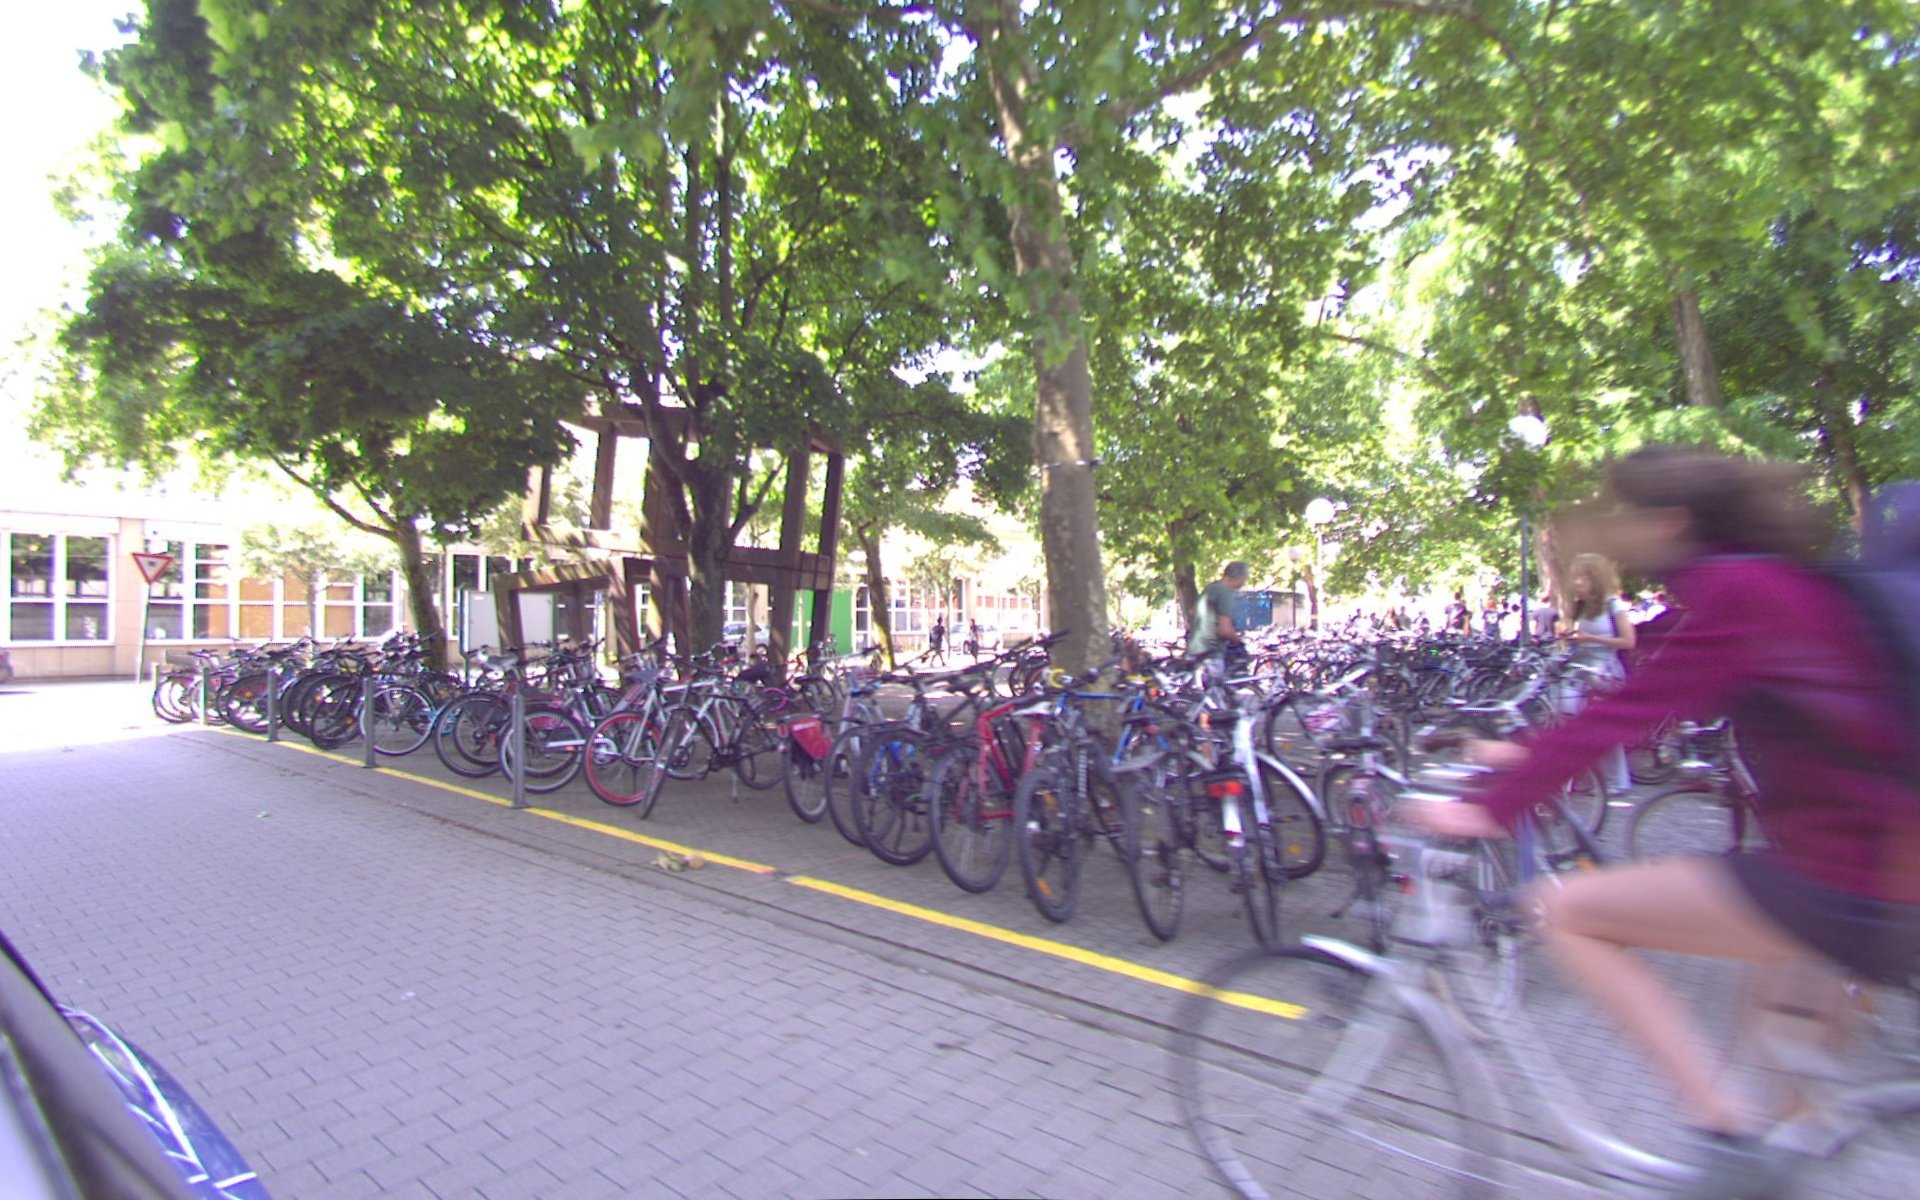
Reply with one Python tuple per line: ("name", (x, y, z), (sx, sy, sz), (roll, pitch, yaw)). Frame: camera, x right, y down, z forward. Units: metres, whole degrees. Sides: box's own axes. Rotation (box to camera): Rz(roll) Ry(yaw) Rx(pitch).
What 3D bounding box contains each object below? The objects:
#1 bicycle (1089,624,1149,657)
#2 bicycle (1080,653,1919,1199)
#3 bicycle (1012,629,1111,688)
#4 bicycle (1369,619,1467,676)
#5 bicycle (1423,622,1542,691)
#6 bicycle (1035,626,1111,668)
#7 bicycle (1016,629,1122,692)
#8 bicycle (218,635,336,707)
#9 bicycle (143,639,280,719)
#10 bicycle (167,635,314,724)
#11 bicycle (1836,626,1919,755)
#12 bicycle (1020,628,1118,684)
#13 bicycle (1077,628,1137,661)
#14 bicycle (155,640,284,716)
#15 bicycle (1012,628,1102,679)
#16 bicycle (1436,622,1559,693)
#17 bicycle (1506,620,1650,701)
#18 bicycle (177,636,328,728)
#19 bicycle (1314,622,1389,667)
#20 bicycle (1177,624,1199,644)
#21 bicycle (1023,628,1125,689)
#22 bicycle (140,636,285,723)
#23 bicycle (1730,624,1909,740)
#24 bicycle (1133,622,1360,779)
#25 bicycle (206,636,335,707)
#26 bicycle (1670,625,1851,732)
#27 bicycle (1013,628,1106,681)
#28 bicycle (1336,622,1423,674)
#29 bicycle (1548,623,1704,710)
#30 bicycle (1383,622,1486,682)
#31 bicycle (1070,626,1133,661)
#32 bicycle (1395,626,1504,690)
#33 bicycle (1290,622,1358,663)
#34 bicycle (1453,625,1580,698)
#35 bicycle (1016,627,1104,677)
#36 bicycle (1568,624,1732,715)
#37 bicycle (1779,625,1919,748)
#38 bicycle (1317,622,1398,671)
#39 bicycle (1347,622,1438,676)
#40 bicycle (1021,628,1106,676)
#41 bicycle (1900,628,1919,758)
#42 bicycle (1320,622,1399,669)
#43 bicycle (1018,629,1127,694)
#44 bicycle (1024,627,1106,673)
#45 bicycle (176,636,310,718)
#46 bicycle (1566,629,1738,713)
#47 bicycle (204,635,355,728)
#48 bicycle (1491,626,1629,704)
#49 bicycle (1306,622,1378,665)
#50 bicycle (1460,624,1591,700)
("bicycle", (5.596, 1.425, 35.703), (2.017, 1.116, 0.499), (-1, 0, 23))
("bicycle", (1.307, 0.713, 1.720), (2.106, 1.159, 0.764), (0, -1, 39))
("bicycle", (1.991, 1.144, 19.859), (1.886, 1.116, 0.501), (-1, 0, 11))
("bicycle", (9.030, 0.927, 19.989), (1.677, 1.092, 0.474), (-1, 0, 2))
("bicycle", (8.647, 0.932, 16.774), (1.677, 1.092, 0.474), (-1, 0, 2))
("bicycle", (3.065, 1.266, 27.429), (2.011, 1.116, 0.500), (-1, 0, 14))
("bicycle", (2.003, 1.110, 18.612), (1.884, 1.116, 0.501), (-1, 0, 8))
("bicycle", (-11.946, 1.228, 17.742), (1.601, 1.168, 0.641), (-1, -3, -21))
("bicycle", (-11.335, 1.171, 15.366), (0.497, 1.116, 1.608), (-4, -3, 40))
("bicycle", (-10.008, 1.073, 14.114), (1.605, 1.116, 0.497), (0, 0, -44))
("bicycle", (8.848, 0.786, 9.169), (1.671, 1.092, 0.475), (-1, 0, -14))
("bicycle", (2.264, 1.159, 21.006), (1.984, 1.116, 0.501), (-1, 0, 11))
("bicycle", (5.023, 1.527, 34.587), (2.011, 1.116, 0.500), (-1, 0, 14))
("bicycle", (-11.813, 1.229, 16.181), (0.497, 1.116, 1.608), (-4, -3, 40))
("bicycle", (2.200, 1.214, 22.895), (1.984, 1.116, 0.501), (-1, 0, 11))
("bicycle", (8.620, 0.917, 16.262), (1.677, 1.092, 0.474), (-1, 0, 2))
("bicycle", (8.612, 0.834, 14.141), (1.677, 1.092, 0.474), (-1, 0, 2))
("bicycle", (-9.584, 1.073, 13.744), (1.606, 1.116, 0.630), (0, 0, -45))
("bicycle", (9.886, 1.123, 25.603), (1.682, 1.092, 0.472), (-1, 0, 12))
("bicycle", (13.372, 1.998, 59.433), (0.603, 1.116, 2.050), (-3, -3, 31))
("bicycle", (2.175, 1.110, 19.272), (1.886, 1.116, 0.501), (-1, 0, 11))
("bicycle", (-10.565, 1.095, 14.339), (1.605, 1.116, 0.497), (0, 0, -44))
("bicycle", (8.727, 0.813, 10.282), (1.671, 1.092, 0.475), (-1, 0, -14))
("bicycle", (2.310, 0.803, 8.297), (1.676, 1.209, 0.575), (-1, 0, 2))
("bicycle", (-11.648, 1.193, 17.149), (1.716, 1.116, 0.592), (-1, -3, -21))
("bicycle", (8.734, 0.840, 11.060), (1.673, 1.092, 0.475), (-1, 0, -6))
("bicycle", (2.170, 1.196, 22.132), (1.984, 1.116, 0.501), (-1, 0, 11))
("bicycle", (9.207, 1.053, 22.256), (1.679, 1.092, 0.473), (-1, 0, 8))
("bicycle", (8.694, 0.857, 13.250), (1.677, 1.092, 0.474), (-1, 0, 2))
("bicycle", (8.889, 0.974, 18.994), (1.677, 1.092, 0.474), (-1, 0, 2))
("bicycle", (4.683, 1.428, 33.460), (2.011, 1.116, 0.500), (-1, 0, 14))
("bicycle", (8.690, 1.029, 17.992), (1.677, 1.092, 0.474), (-1, 0, 2))
("bicycle", (10.043, 1.177, 27.944), (1.682, 1.092, 0.472), (-1, 0, 12))
("bicycle", (8.650, 0.955, 15.754), (1.677, 1.092, 0.474), (-1, 0, 2))
("bicycle", (2.316, 1.206, 23.478), (1.984, 1.116, 0.501), (-1, 0, 11))
("bicycle", (8.625, 0.863, 12.675), (1.677, 1.092, 0.474), (-1, 0, 2))
("bicycle", (8.746, 0.803, 9.685), (1.671, 1.092, 0.475), (-1, 0, -14))
("bicycle", (9.197, 1.071, 23.452), (1.682, 1.092, 0.472), (-1, 0, 12))
("bicycle", (9.072, 1.031, 21.259), (1.677, 1.092, 0.474), (-1, 0, 2))
("bicycle", (2.512, 1.249, 24.441), (2.007, 1.116, 0.501), (-1, 0, 9))
("bicycle", (8.947, 0.779, 8.651), (1.671, 1.092, 0.475), (-1, 0, -14))
("bicycle", (9.617, 1.097, 24.392), (1.682, 1.092, 0.472), (-1, 0, 12))
("bicycle", (2.009, 1.091, 18.065), (1.884, 1.116, 0.501), (-1, 0, 8))
("bicycle", (2.607, 1.244, 25.128), (2.007, 1.116, 0.501), (-1, 0, 9))
("bicycle", (-10.613, 1.125, 15.016), (1.603, 1.116, 0.498), (0, -3, -37))
("bicycle", (8.341, 0.847, 12.237), (1.717, 0.969, 0.452), (-1, 0, 2))
("bicycle", (-9.044, 1.050, 13.499), (1.605, 1.116, 0.506), (0, 0, -44))
("bicycle", (8.676, 0.932, 14.660), (1.677, 1.092, 0.474), (-1, 0, 2))
("bicycle", (9.952, 1.139, 26.398), (1.682, 1.092, 0.472), (-1, 0, 12))
("bicycle", (8.540, 0.931, 15.311), (1.677, 1.092, 0.474), (-1, 0, 2))
